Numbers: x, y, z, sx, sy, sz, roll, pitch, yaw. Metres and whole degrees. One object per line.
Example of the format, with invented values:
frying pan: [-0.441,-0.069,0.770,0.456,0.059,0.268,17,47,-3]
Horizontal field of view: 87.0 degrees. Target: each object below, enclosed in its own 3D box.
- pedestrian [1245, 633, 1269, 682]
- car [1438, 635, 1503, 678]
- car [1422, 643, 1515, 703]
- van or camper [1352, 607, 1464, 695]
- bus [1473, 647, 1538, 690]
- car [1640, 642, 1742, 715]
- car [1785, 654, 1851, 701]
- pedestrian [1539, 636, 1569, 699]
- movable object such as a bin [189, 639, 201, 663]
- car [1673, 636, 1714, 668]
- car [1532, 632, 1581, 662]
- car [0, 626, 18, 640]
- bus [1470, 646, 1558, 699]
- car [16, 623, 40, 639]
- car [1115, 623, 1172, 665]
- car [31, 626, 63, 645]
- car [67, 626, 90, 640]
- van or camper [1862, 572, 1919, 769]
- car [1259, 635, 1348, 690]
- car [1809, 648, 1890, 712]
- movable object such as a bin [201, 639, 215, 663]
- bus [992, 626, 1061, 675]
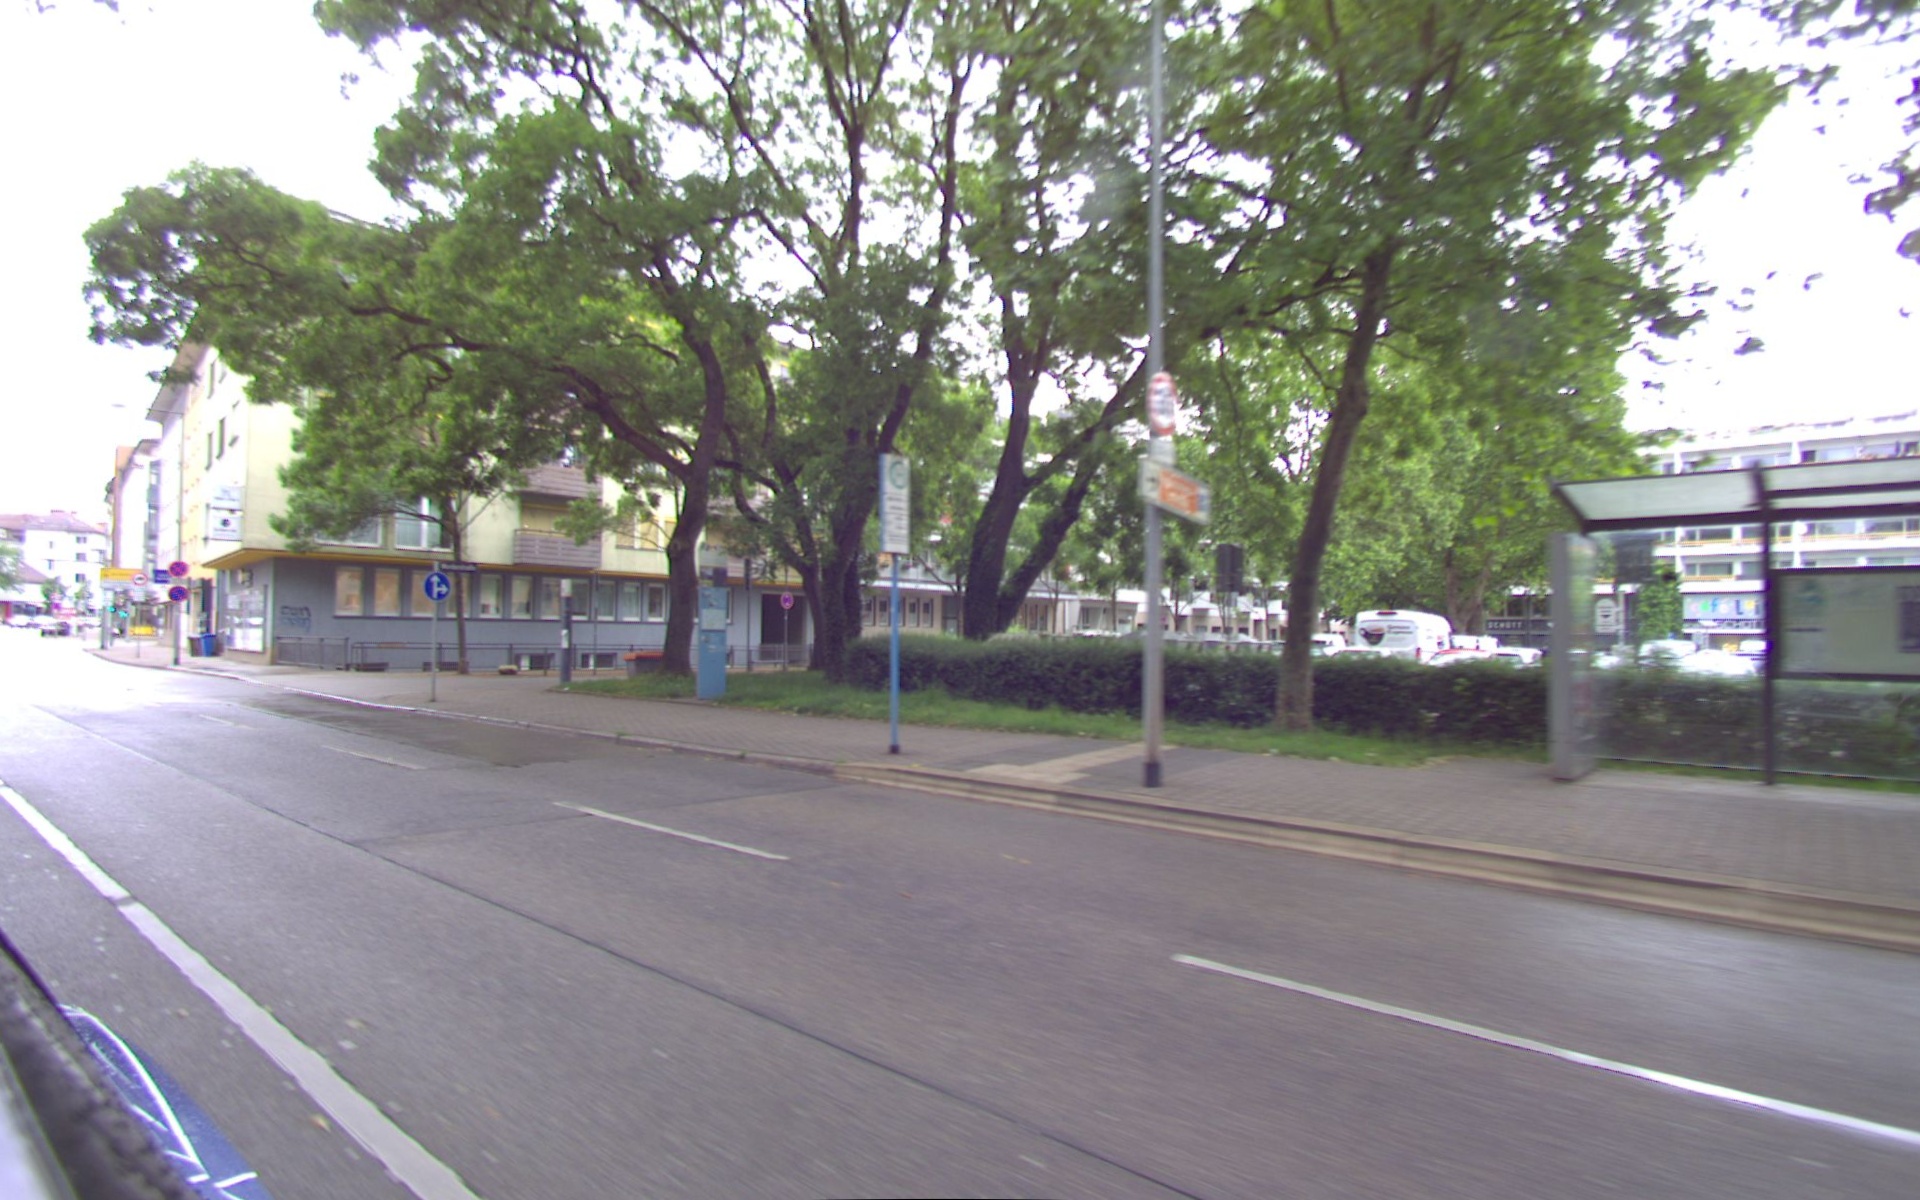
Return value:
pedestrian: [7.527,1.453,25.667,0.465,1.222,0.433,-1,0,34]
car: [22.519,2.469,44.566,1.815,1.787,3.884,-1,-3,38]
car: [13.235,1.878,26.275,1.391,1.446,3.227,-1,-4,41]
van or camper: [14.068,1.583,31.653,2.097,2.556,4.368,-1,-3,39]
bus: [21.282,2.653,39.450,1.604,1.551,3.385,-1,-3,39]
car: [16.554,1.733,22.897,1.727,1.474,3.798,-1,-3,37]
car: [28.709,2.566,33.914,1.604,1.439,3.275,-1,-3,39]
pedestrian: [11.914,1.346,20.287,0.484,1.222,0.433,-1,0,34]
movable object such as a bin: [-33.146,2.200,43.866,0.333,1.037,0.354,4,-4,-42]
car: [39.039,2.744,53.870,1.638,1.536,3.161,-1,0,38]
car: [29.797,2.336,50.520,1.604,1.439,3.275,-1,-3,39]
car: [-115.715,3.948,122.716,4.002,1.653,1.971,-2,-4,45]
bus: [16.225,2.081,29.590,1.634,1.399,3.523,-1,-3,39]
car: [-117.821,3.907,127.968,4.002,1.866,1.971,-2,-4,45]
car: [9.254,2.223,50.799,1.988,2.029,3.967,0,-3,24]
car: [-85.399,3.308,94.646,4.002,1.730,1.863,-2,-4,45]
car: [-114.067,4.259,130.952,4.002,1.670,1.842,-2,-4,45]
van or camper: [12.685,0.870,12.448,2.046,2.186,4.438,-1,-3,38]
car: [11.836,2.122,34.728,1.739,1.739,3.949,-1,-3,37]
car: [21.931,1.936,24.989,1.391,1.446,3.227,-1,-4,41]
movable object such as a bin: [-32.819,2.234,44.156,0.409,1.037,0.354,4,-4,-42]
bus: [2.818,2.100,42.081,1.703,1.939,3.698,0,-3,24]
